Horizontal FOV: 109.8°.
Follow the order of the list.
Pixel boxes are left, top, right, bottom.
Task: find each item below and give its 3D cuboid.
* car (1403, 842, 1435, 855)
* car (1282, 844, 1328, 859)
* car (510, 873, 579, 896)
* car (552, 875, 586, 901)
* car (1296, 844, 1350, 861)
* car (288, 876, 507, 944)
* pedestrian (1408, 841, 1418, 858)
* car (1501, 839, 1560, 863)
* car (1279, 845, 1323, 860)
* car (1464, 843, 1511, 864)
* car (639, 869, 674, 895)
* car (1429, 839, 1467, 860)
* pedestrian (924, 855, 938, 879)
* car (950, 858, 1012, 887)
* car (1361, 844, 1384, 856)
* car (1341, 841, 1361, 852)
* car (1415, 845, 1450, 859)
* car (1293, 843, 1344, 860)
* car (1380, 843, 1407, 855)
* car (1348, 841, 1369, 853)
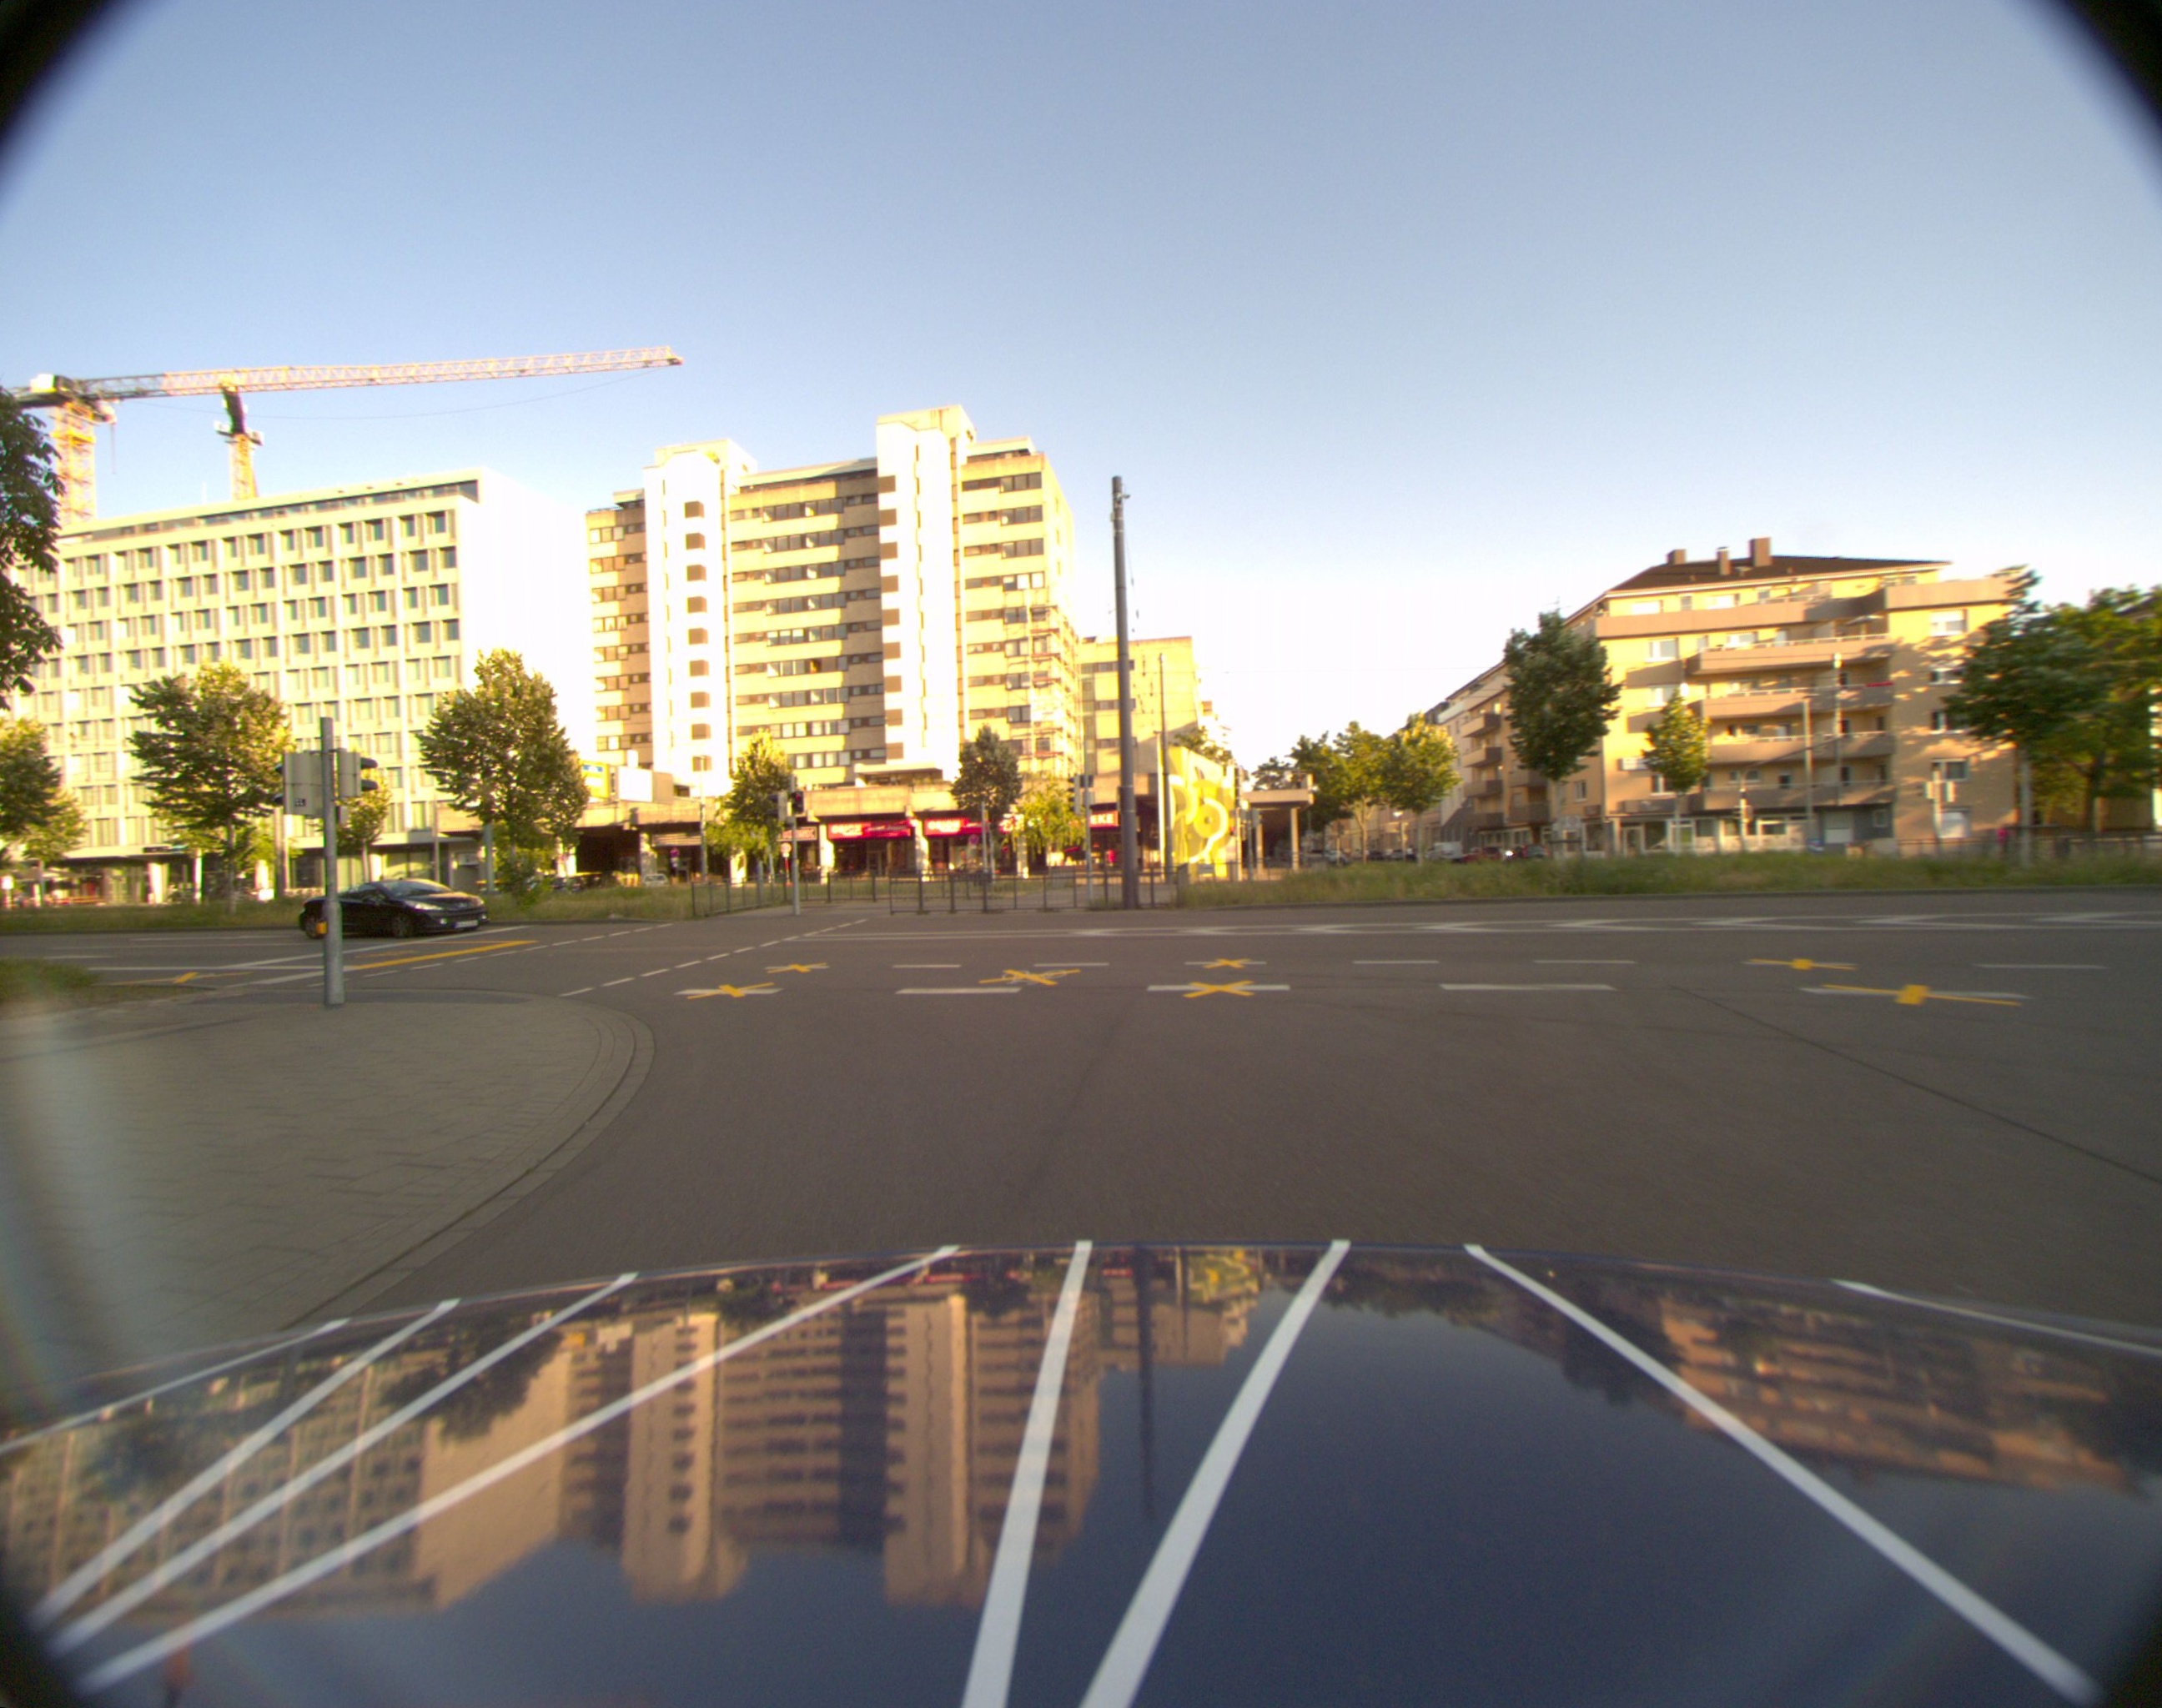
[{"bbox_3d":[34.463,-0.536,77.576,1.997,1.237,4.002,-2,0,9],"label":"car"},{"bbox_3d":[24.602,-0.284,83.732,4.637,1.551,2.001,-2,1,10],"label":"car"},{"bbox_3d":[-42.797,2.391,60.697,1.720,1.552,4.335,-2,0,15],"label":"car"},{"bbox_3d":[-33.995,2.203,50.518,1.725,1.552,4.320,-2,1,-32],"label":"car"},{"bbox_3d":[23.023,-0.156,72.337,4.637,1.390,2.001,-2,1,10],"label":"car"},{"bbox_3d":[-16.236,1.304,18.134,3.903,1.380,1.802,-2,1,10],"label":"car"},{"bbox_3d":[38.247,-0.534,87.503,0.891,2.002,0.771,-2,1,9],"label":"pedestrian"},{"bbox_3d":[29.938,-0.208,50.743,1.997,1.477,4.002,-2,0,9],"label":"car"},{"bbox_3d":[25.189,-0.211,87.053,4.637,1.551,2.001,-2,1,10],"label":"car"},{"bbox_3d":[31.488,-0.076,58.978,1.997,1.477,4.002,-2,0,9],"label":"car"},{"bbox_3d":[-27.763,1.813,49.614,1.725,1.552,4.320,-2,1,-32],"label":"car"},{"bbox_3d":[32.515,-0.385,67.410,1.997,1.740,4.002,-2,0,9],"label":"car"},{"bbox_3d":[-10.295,0.863,52.141,0.725,1.604,0.656,-2,1,5],"label":"pedestrian"},{"bbox_3d":[-6.052,1.103,45.575,1.965,1.552,4.334,-2,0,-32],"label":"car"},{"bbox_3d":[37.511,-0.525,97.768,1.997,1.521,4.002,-2,0,9],"label":"car"},{"bbox_3d":[39.408,-1.154,110.835,1.997,1.521,4.002,-2,0,9],"label":"car"},{"bbox_3d":[33.755,-0.248,73.108,1.997,1.237,4.002,-2,0,9],"label":"car"},{"bbox_3d":[24.122,-0.296,77.363,4.637,1.551,2.001,-2,1,10],"label":"car"},{"bbox_3d":[35.785,-0.553,87.190,1.997,1.237,4.002,-2,0,9],"label":"car"},{"bbox_3d":[38.519,-0.976,105.535,1.997,1.521,4.002,-2,0,9],"label":"car"}]
